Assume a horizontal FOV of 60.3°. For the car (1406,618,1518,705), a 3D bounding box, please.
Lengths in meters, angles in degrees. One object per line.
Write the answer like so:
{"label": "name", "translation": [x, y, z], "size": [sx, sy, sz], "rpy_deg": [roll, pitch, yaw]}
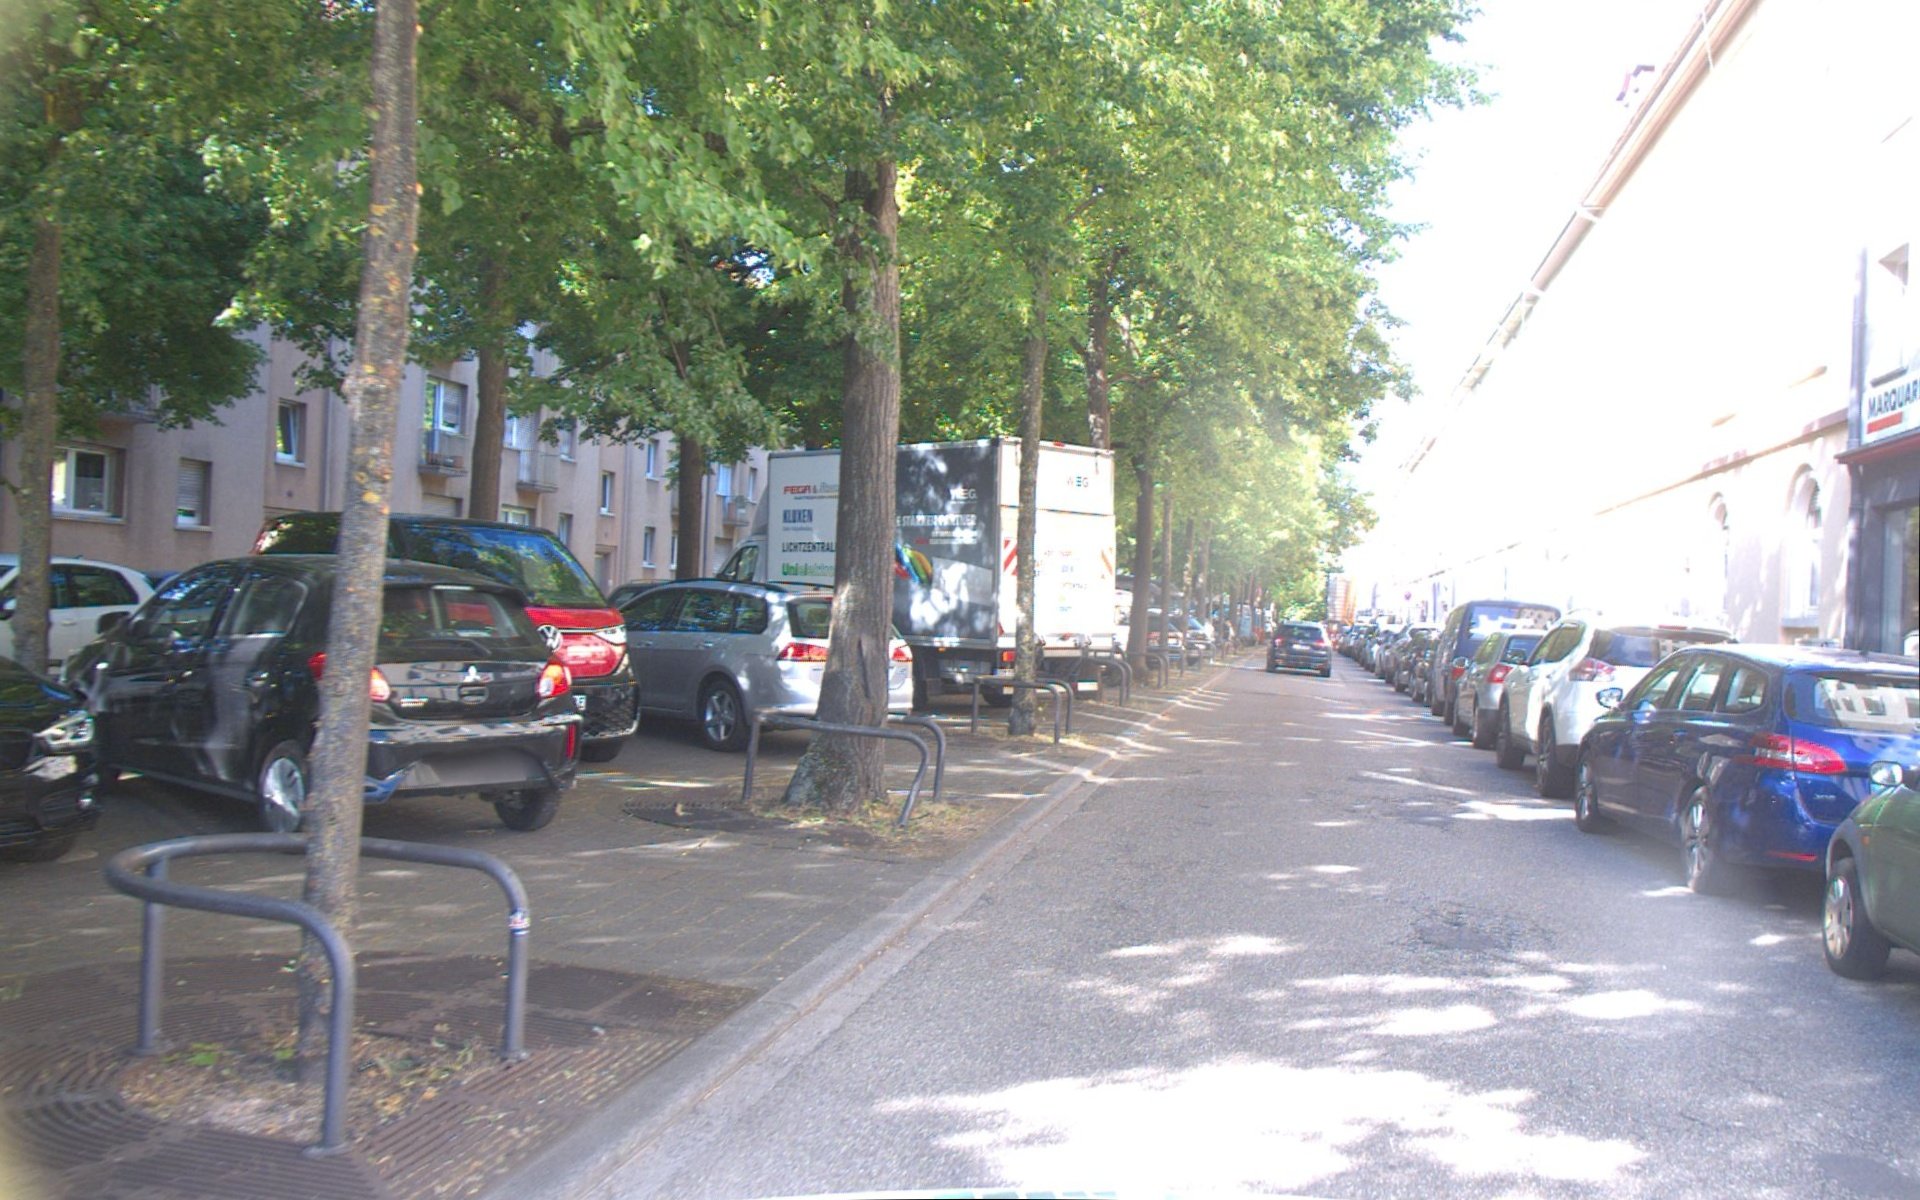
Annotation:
{"label": "car", "translation": [9.749, 1.154, 32.326], "size": [1.587, 1.524, 3.598], "rpy_deg": [2, 0, 9]}

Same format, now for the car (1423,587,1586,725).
{"label": "car", "translation": [8.675, 0.838, 26.725], "size": [1.907, 1.934, 4.849], "rpy_deg": [2, 0, 12]}

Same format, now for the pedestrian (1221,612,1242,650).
{"label": "pedestrian", "translation": [10.918, 1.253, 66.525], "size": [0.604, 1.481, 0.518], "rpy_deg": [2, -1, 35]}

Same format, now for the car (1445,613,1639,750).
{"label": "car", "translation": [7.479, 0.974, 21.627], "size": [1.724, 1.526, 4.241], "rpy_deg": [2, 0, 11]}

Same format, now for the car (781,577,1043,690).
{"label": "car", "translation": [-0.800, 0.494, 25.924], "size": [3.932, 1.529, 1.836], "rpy_deg": [3, 0, 44]}

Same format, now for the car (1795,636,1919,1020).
{"label": "car", "translation": [4.552, 0.940, 6.261], "size": [1.563, 1.489, 3.675], "rpy_deg": [2, 0, 12]}

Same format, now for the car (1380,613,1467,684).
{"label": "car", "translation": [12.137, 1.227, 43.516], "size": [1.686, 1.715, 4.161], "rpy_deg": [2, 0, 9]}

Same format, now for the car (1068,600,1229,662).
{"label": "car", "translation": [5.278, 0.863, 46.671], "size": [4.350, 1.487, 1.704], "rpy_deg": [2, -1, 44]}

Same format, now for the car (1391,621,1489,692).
{"label": "car", "translation": [10.759, 1.238, 37.262], "size": [1.516, 1.418, 3.864], "rpy_deg": [2, 0, 8]}

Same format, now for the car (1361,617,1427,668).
{"label": "car", "translation": [14.415, 1.377, 55.109], "size": [1.686, 1.555, 4.161], "rpy_deg": [2, 0, 9]}

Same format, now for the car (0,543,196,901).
{"label": "car", "translation": [-5.503, 0.424, 7.745], "size": [3.871, 1.447, 1.814], "rpy_deg": [2, 0, 36]}

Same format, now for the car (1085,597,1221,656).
{"label": "car", "translation": [6.181, 0.829, 53.204], "size": [4.072, 1.708, 1.749], "rpy_deg": [2, 0, 41]}

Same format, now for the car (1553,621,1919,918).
{"label": "car", "translation": [5.354, 0.934, 10.870], "size": [1.764, 1.489, 4.444], "rpy_deg": [2, 0, 7]}

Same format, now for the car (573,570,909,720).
{"label": "car", "translation": [-2.727, 0.482, 19.938], "size": [1.800, 1.533, 4.273], "rpy_deg": [3, 0, -44]}

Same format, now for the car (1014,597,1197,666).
{"label": "car", "translation": [3.577, 0.765, 41.221], "size": [4.413, 1.481, 1.775], "rpy_deg": [2, 0, 44]}

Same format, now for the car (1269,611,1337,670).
{"label": "car", "translation": [9.657, 1.116, 46.757], "size": [1.758, 1.530, 3.588], "rpy_deg": [2, 0, 10]}

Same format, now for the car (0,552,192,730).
{"label": "car", "translation": [-8.925, 0.318, 15.027], "size": [1.717, 1.512, 3.951], "rpy_deg": [2, 0, 5]}

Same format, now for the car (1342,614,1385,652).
{"label": "car", "translation": [19.589, 1.591, 80.370], "size": [1.778, 1.703, 4.677], "rpy_deg": [2, 0, 12]}

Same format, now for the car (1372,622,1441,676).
{"label": "car", "translation": [13.358, 1.426, 49.663], "size": [1.686, 1.457, 4.161], "rpy_deg": [2, 0, 11]}

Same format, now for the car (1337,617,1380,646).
{"label": "car", "translation": [21.427, 1.672, 89.150], "size": [1.951, 1.434, 4.504], "rpy_deg": [3, 0, 10]}

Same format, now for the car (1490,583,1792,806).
{"label": "car", "translation": [6.417, 0.798, 16.110], "size": [1.724, 1.784, 4.513], "rpy_deg": [2, 0, 10]}

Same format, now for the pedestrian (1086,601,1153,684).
{"label": "pedestrian", "translation": [2.831, 0.757, 29.352], "size": [0.740, 1.421, 0.923], "rpy_deg": [2, 0, 43]}

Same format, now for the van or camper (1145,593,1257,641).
{"label": "van or camper", "translation": [12.632, 0.904, 86.936], "size": [5.406, 2.315, 2.212], "rpy_deg": [2, 0, 36]}

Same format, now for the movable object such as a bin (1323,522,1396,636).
{"label": "movable object such as a bin", "translation": [24.852, -1.319, 102.860], "size": [3.432, 6.877, 2.352], "rpy_deg": [2, -1, 44]}

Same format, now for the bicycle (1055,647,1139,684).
{"label": "bicycle", "translation": [2.455, 1.168, 29.757], "size": [1.586, 0.568, 0.407], "rpy_deg": [2, 0, 43]}

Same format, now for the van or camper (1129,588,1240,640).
{"label": "van or camper", "translation": [12.364, 0.745, 91.341], "size": [5.781, 2.683, 2.242], "rpy_deg": [2, 0, 42]}

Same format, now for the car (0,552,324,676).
{"label": "car", "translation": [-10.796, 0.185, 22.668], "size": [1.726, 1.460, 4.347], "rpy_deg": [2, 0, 12]}

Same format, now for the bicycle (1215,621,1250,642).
{"label": "bicycle", "translation": [13.676, 1.575, 82.941], "size": [1.693, 1.023, 0.509], "rpy_deg": [2, -1, -19]}

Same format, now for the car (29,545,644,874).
{"label": "car", "translation": [-3.747, 0.496, 9.669], "size": [3.754, 1.506, 1.752], "rpy_deg": [2, 0, 41]}

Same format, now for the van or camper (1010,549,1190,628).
{"label": "van or camper", "translation": [5.564, -0.492, 66.612], "size": [7.113, 2.981, 2.302], "rpy_deg": [2, 0, 39]}

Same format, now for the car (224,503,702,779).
{"label": "car", "translation": [-4.244, 0.242, 13.684], "size": [1.921, 1.906, 4.430], "rpy_deg": [3, 0, -44]}

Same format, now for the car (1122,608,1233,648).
{"label": "car", "translation": [8.871, 1.139, 67.749], "size": [4.247, 1.449, 1.667], "rpy_deg": [2, 0, 39]}

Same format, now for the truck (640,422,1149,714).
{"label": "truck", "translation": [-1.122, -0.425, 22.378], "size": [7.199, 3.351, 2.530], "rpy_deg": [2, 0, 43]}

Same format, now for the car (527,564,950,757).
{"label": "car", "translation": [-2.232, 0.495, 15.820], "size": [1.800, 1.533, 4.273], "rpy_deg": [3, 0, -44]}

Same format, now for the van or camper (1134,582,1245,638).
{"label": "van or camper", "translation": [14.446, 0.589, 104.311], "size": [6.556, 3.297, 2.482], "rpy_deg": [2, 0, 41]}

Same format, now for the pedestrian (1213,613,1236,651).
{"label": "pedestrian", "translation": [10.550, 1.271, 66.011], "size": [0.697, 1.481, 0.594], "rpy_deg": [2, -1, 35]}

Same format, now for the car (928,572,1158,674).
{"label": "car", "translation": [1.732, 0.475, 35.143], "size": [4.436, 1.897, 2.072], "rpy_deg": [3, 0, 37]}
